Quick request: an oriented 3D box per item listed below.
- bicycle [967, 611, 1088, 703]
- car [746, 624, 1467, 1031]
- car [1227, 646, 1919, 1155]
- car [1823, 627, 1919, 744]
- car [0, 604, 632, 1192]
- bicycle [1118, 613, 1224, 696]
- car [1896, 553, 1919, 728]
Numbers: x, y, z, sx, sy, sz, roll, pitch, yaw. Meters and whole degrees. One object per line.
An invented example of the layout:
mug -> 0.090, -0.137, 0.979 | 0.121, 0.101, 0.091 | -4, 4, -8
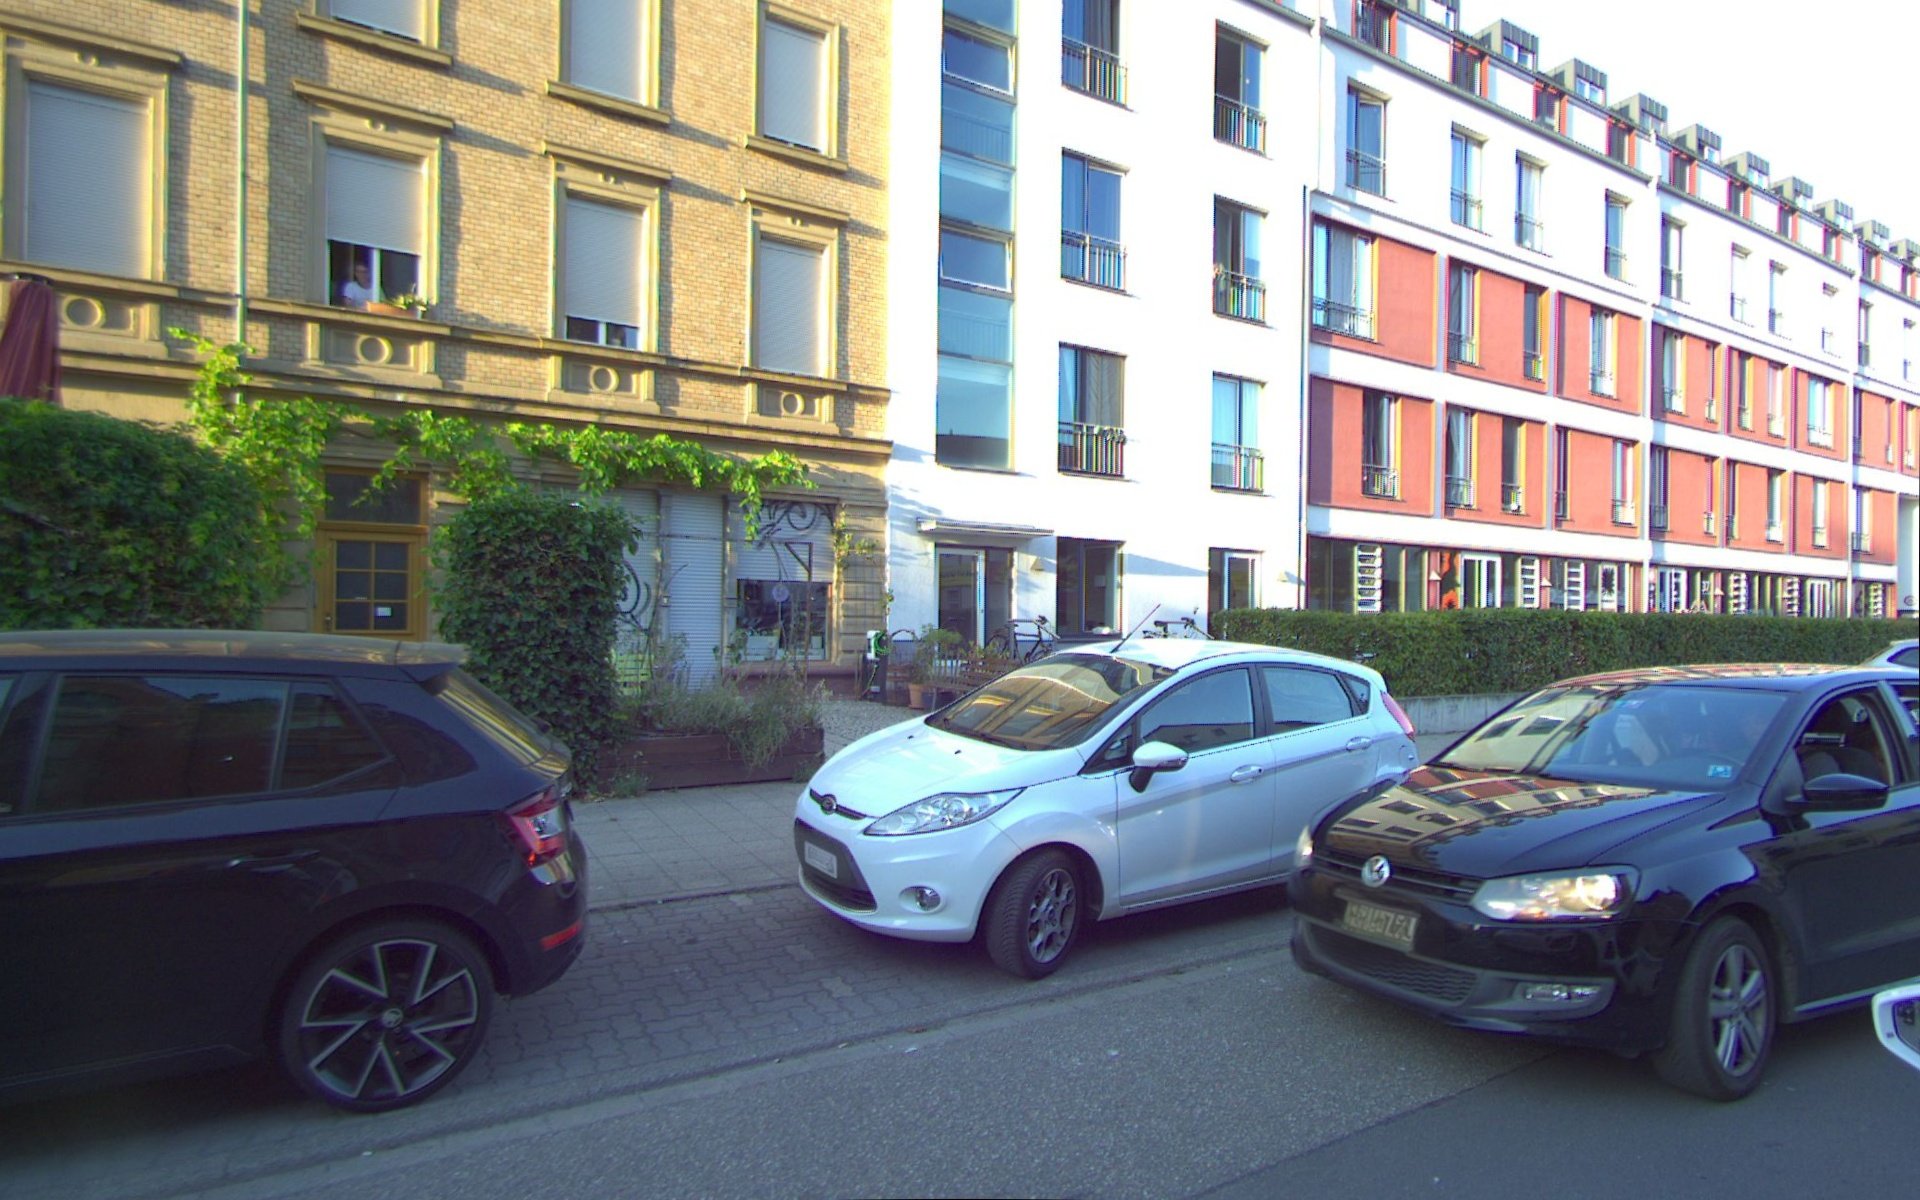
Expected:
bicycle -> 0.916, 0.773, 14.228 | 0.802, 1.157, 1.907 | 1, 1, -29
car -> 0.977, 0.948, 5.719 | 3.974, 1.550, 1.641 | 1, 0, -33
car -> 3.299, 0.957, 4.495 | 3.886, 1.474, 1.649 | 1, -3, -23
car -> 14.016, 1.180, 12.532 | 1.860, 1.480, 4.588 | 1, 0, -33
car -> -3.212, 0.799, 3.285 | 3.799, 1.554, 1.695 | 1, 0, -30
bicycle -> 3.208, 0.804, 15.440 | 0.602, 1.163, 1.769 | 1, 1, -27
car -> 16.231, 0.664, 13.805 | 1.975, 2.619, 4.493 | 1, 1, -28
